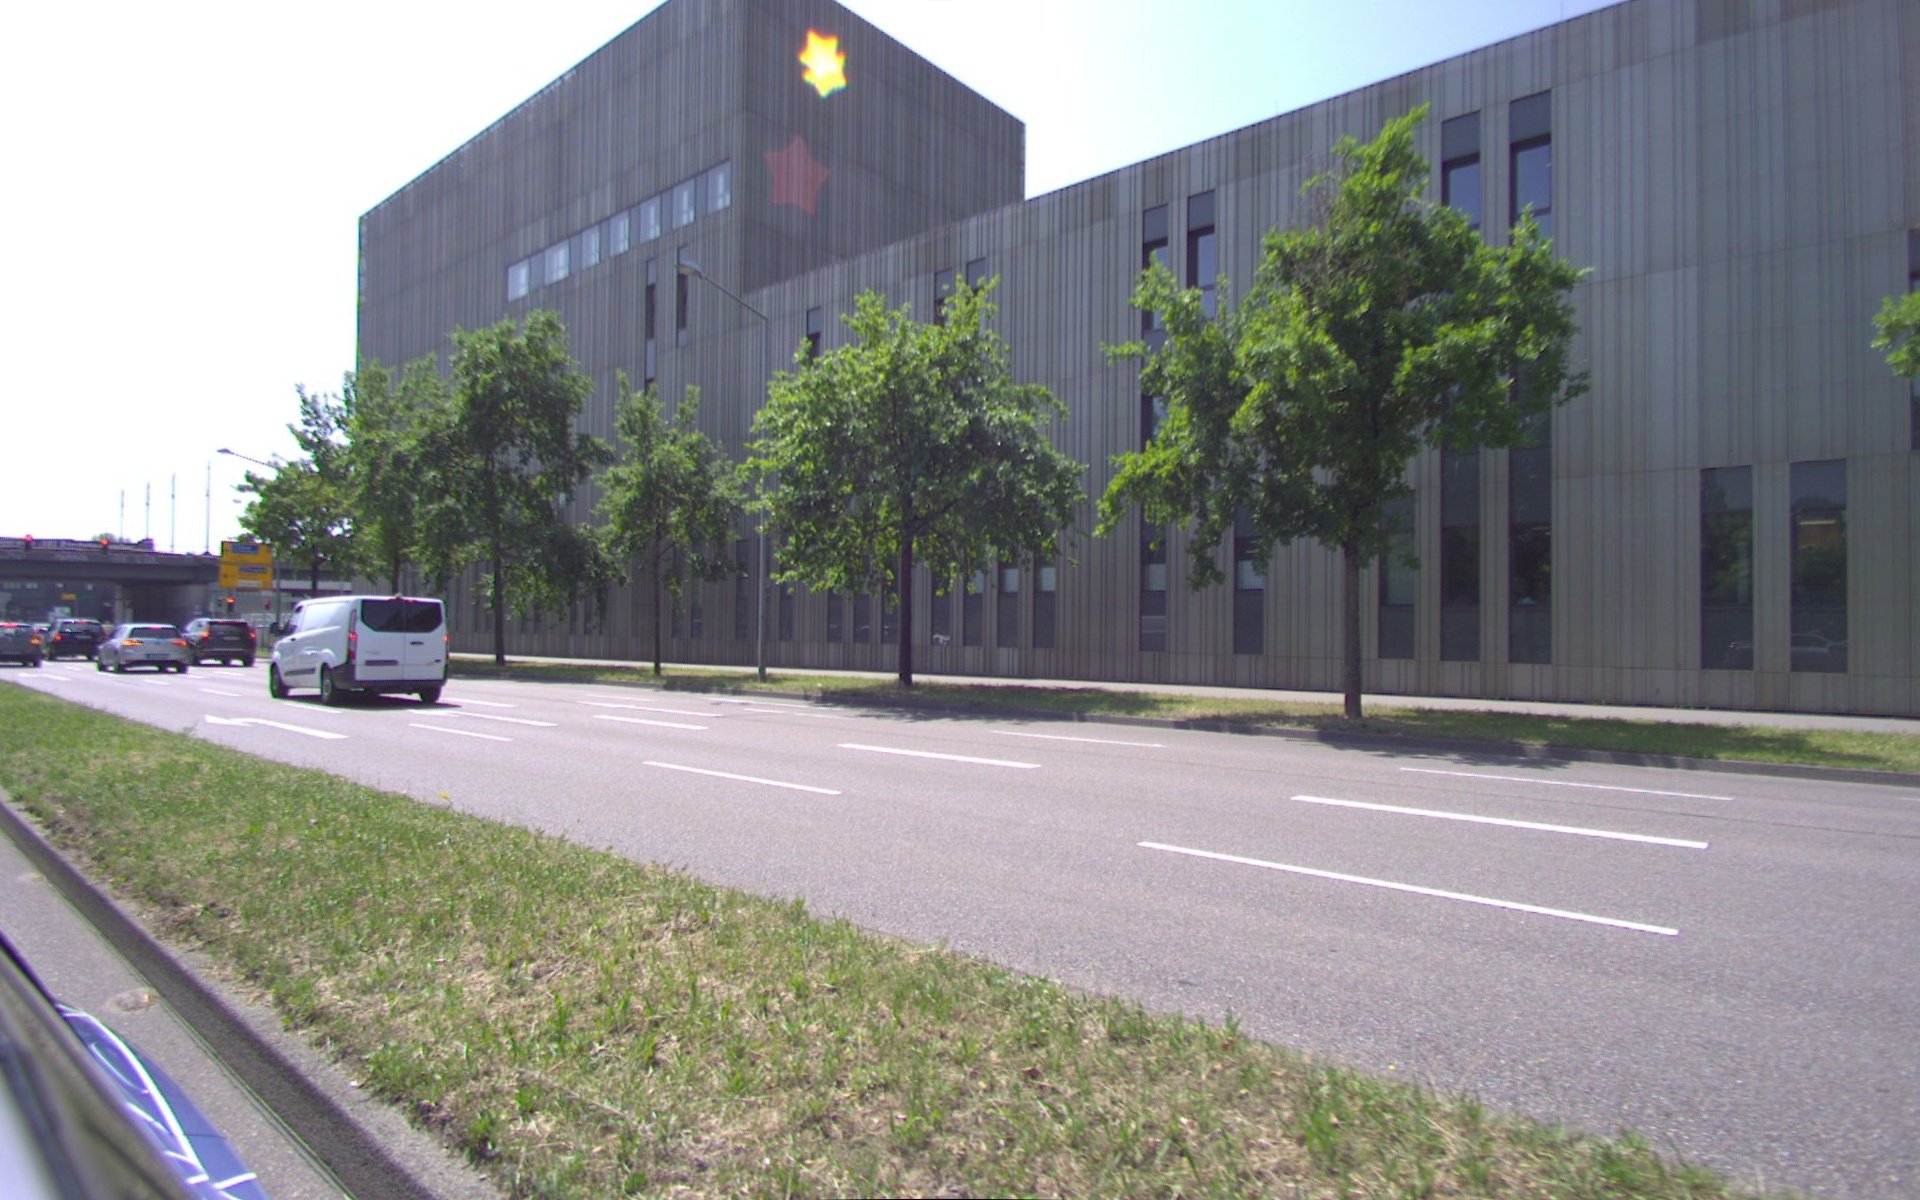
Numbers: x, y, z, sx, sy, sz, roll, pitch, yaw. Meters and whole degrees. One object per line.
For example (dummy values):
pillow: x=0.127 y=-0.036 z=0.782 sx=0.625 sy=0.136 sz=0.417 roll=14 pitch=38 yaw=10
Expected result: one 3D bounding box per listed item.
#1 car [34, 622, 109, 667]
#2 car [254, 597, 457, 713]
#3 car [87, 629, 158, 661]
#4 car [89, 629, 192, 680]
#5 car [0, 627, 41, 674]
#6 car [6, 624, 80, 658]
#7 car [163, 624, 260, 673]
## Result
car: x=-35.717 y=1.766 z=40.634 sx=4.573 sy=1.676 sz=1.783 roll=-2 pitch=-3 yaw=43
car: x=-11.934 y=1.034 z=19.838 sx=4.894 sy=2.008 sz=1.889 roll=-1 pitch=-3 yaw=41
car: x=-39.727 y=2.114 z=47.981 sx=4.246 sy=1.428 sz=1.792 roll=-1 pitch=-2 yaw=39
car: x=-25.397 y=1.646 z=31.331 sx=4.143 sy=1.471 sz=1.747 roll=-1 pitch=-3 yaw=41
car: x=-32.095 y=1.642 z=33.646 sx=4.055 sy=1.477 sz=1.791 roll=-1 pitch=-3 yaw=41
car: x=-41.137 y=1.812 z=45.385 sx=4.246 sy=1.457 sz=1.792 roll=-1 pitch=-3 yaw=39
car: x=-28.343 y=1.806 z=38.272 sx=4.641 sy=1.760 sz=1.792 roll=-1 pitch=-3 yaw=39
